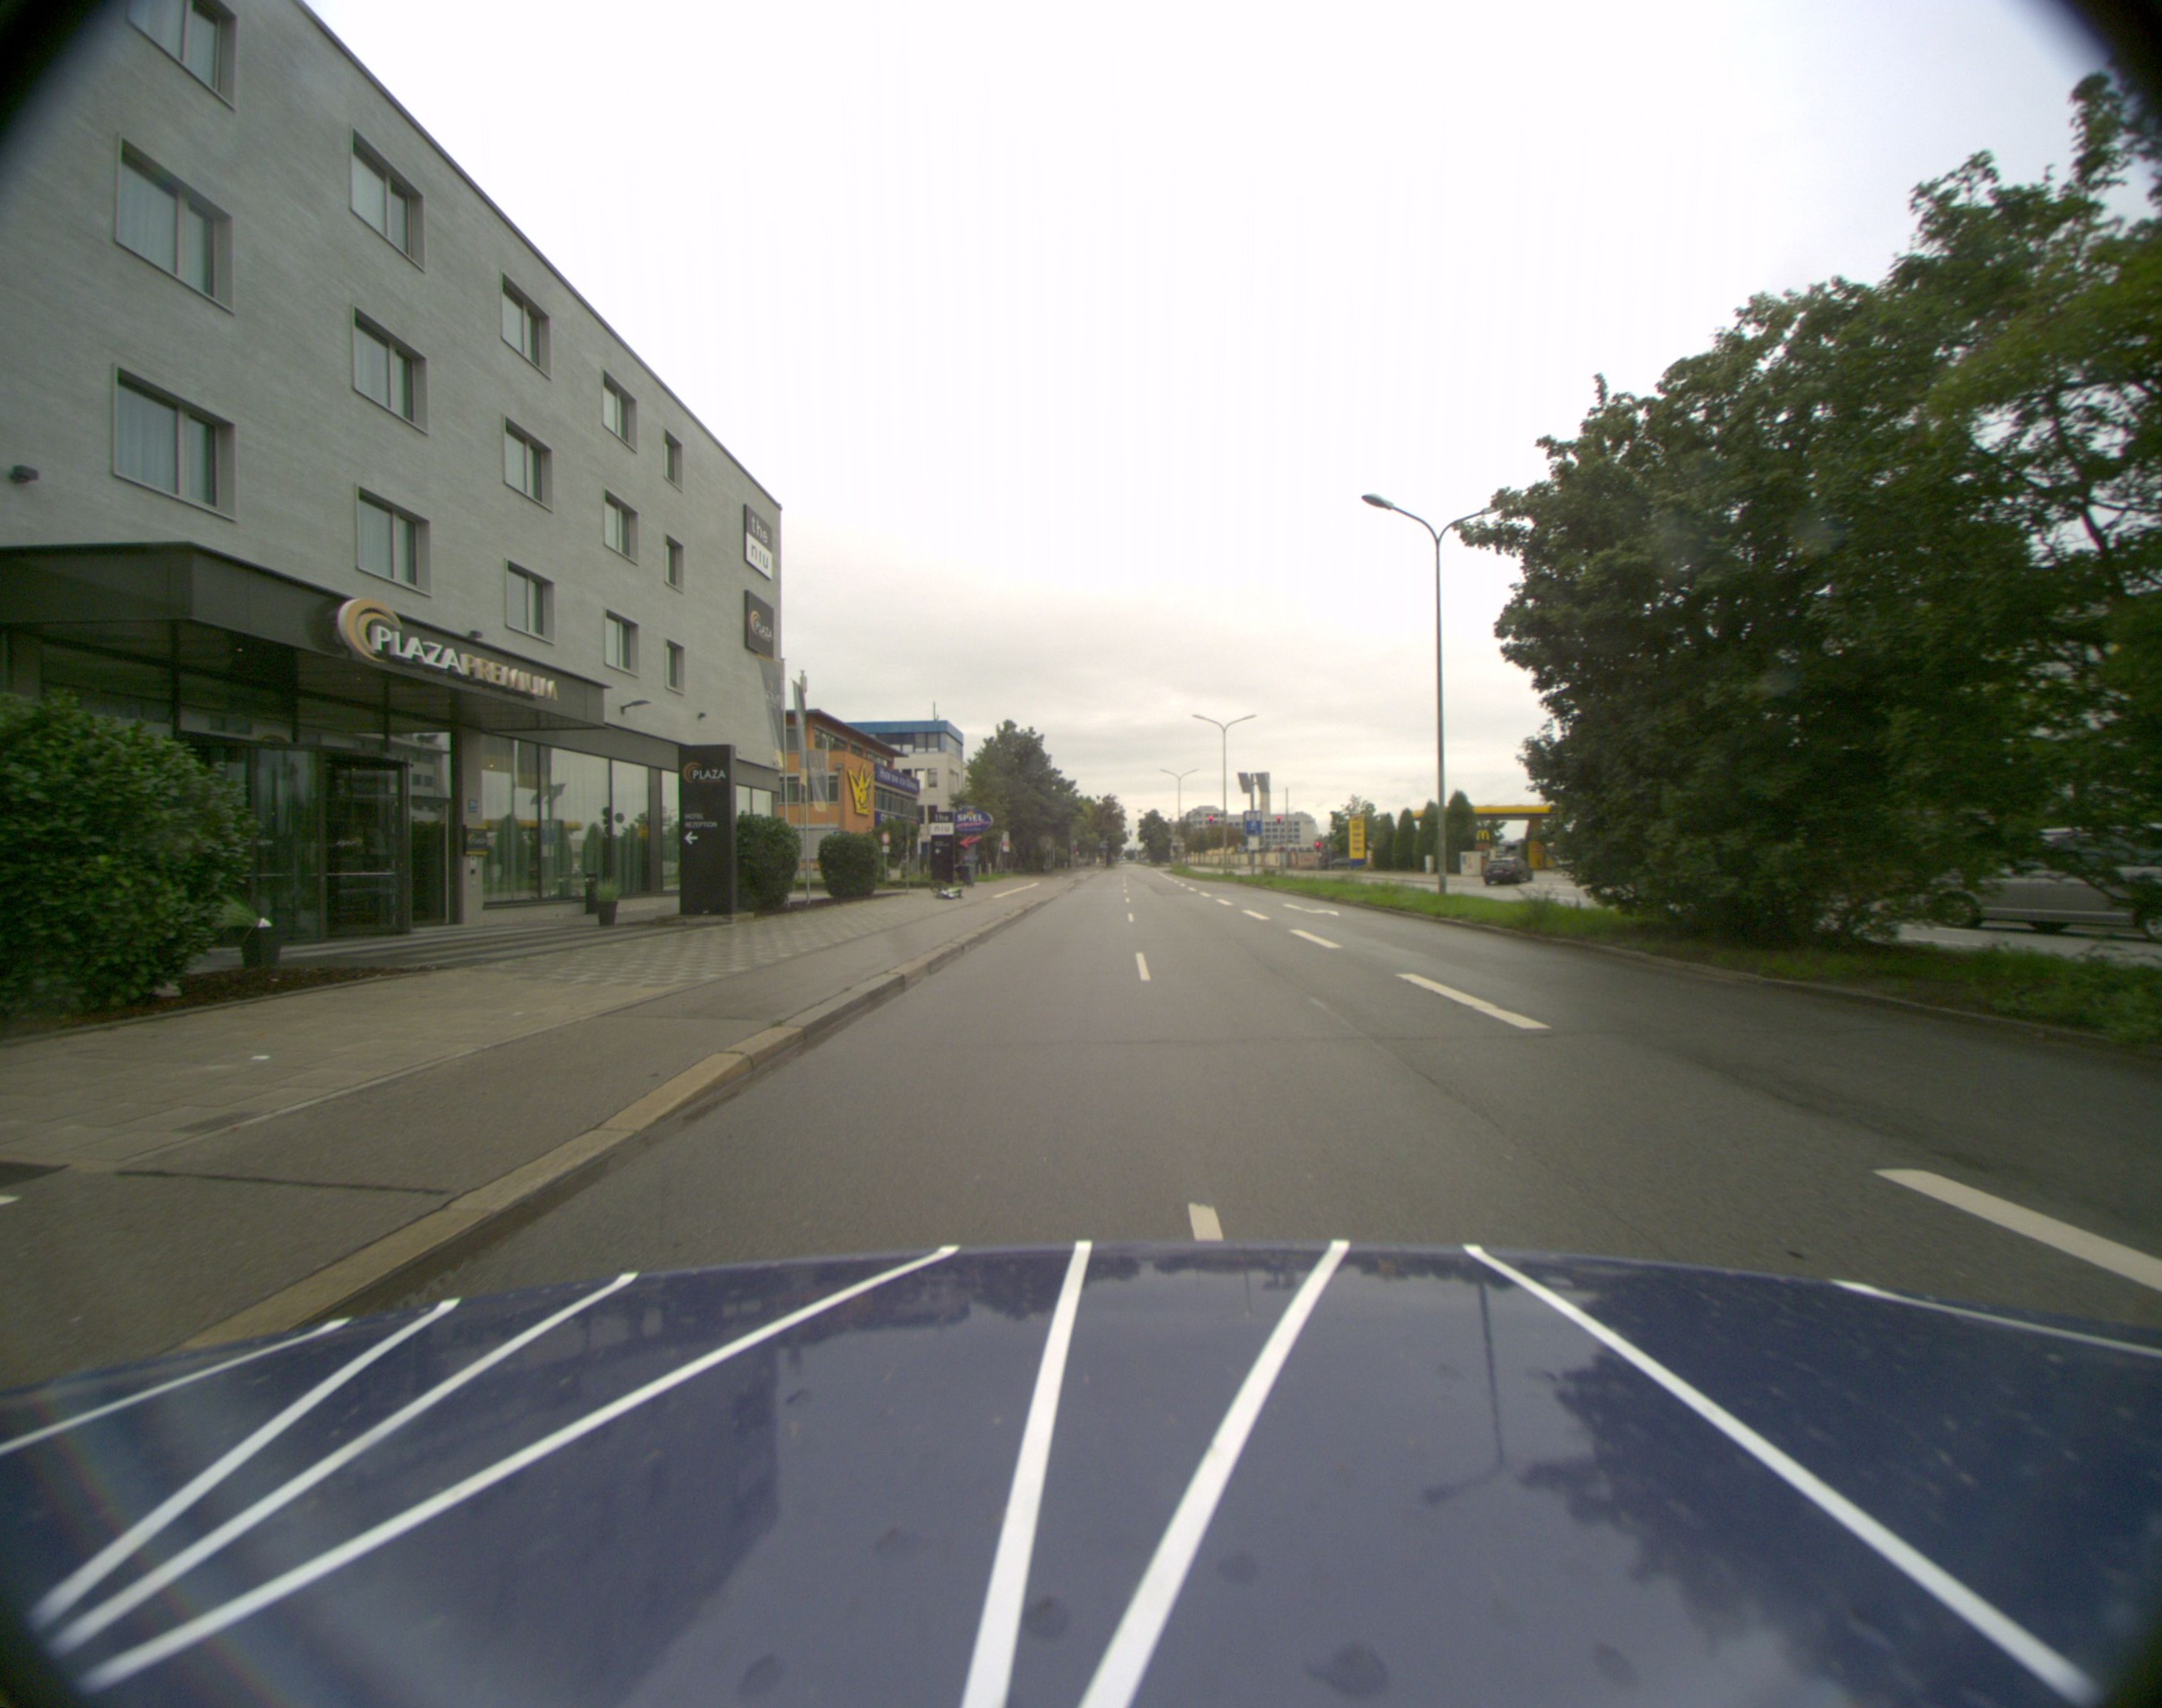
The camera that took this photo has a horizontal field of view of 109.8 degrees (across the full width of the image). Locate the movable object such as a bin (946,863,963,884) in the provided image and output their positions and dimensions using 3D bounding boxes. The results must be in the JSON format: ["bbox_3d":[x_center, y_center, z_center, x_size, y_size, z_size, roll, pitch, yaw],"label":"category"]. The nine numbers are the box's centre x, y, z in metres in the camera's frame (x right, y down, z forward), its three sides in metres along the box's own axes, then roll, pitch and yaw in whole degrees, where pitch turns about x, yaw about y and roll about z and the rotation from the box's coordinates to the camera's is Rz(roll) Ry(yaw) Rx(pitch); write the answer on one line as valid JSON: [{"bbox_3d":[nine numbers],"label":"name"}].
[{"bbox_3d":[-6.582,1.036,39.686,0.738,1.072,0.655,1,0,3],"label":"movable object such as a bin"}]

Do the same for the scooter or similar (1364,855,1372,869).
[{"bbox_3d":[27.280,0.758,72.274,0.356,1.235,1.546,-3,-1,8],"label":"scooter or similar"}]

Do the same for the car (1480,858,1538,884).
[{"bbox_3d":[23.960,0.921,42.451,1.994,1.393,4.665,1,0,40],"label":"car"}]

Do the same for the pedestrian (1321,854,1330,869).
[{"bbox_3d":[26.813,0.807,83.348,0.804,1.605,0.687,-3,0,2],"label":"pedestrian"}]

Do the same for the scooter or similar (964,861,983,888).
[{"bbox_3d":[-5.247,0.979,37.224,0.587,1.270,1.404,4,0,3],"label":"scooter or similar"}]

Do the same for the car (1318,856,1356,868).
[{"bbox_3d":[33.014,1.045,98.011,4.259,1.419,2.001,-1,0,6],"label":"car"}]

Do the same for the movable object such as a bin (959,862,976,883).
[{"bbox_3d":[-5.851,0.974,39.315,0.738,1.072,0.655,1,0,3],"label":"movable object such as a bin"}]

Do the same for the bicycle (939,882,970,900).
[{"bbox_3d":[-4.459,1.300,26.835,0.721,0.545,1.733,3,0,3],"label":"bicycle"}]

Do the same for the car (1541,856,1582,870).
[{"bbox_3d":[51.910,0.938,82.157,1.907,1.469,4.194,1,0,3],"label":"car"}]
